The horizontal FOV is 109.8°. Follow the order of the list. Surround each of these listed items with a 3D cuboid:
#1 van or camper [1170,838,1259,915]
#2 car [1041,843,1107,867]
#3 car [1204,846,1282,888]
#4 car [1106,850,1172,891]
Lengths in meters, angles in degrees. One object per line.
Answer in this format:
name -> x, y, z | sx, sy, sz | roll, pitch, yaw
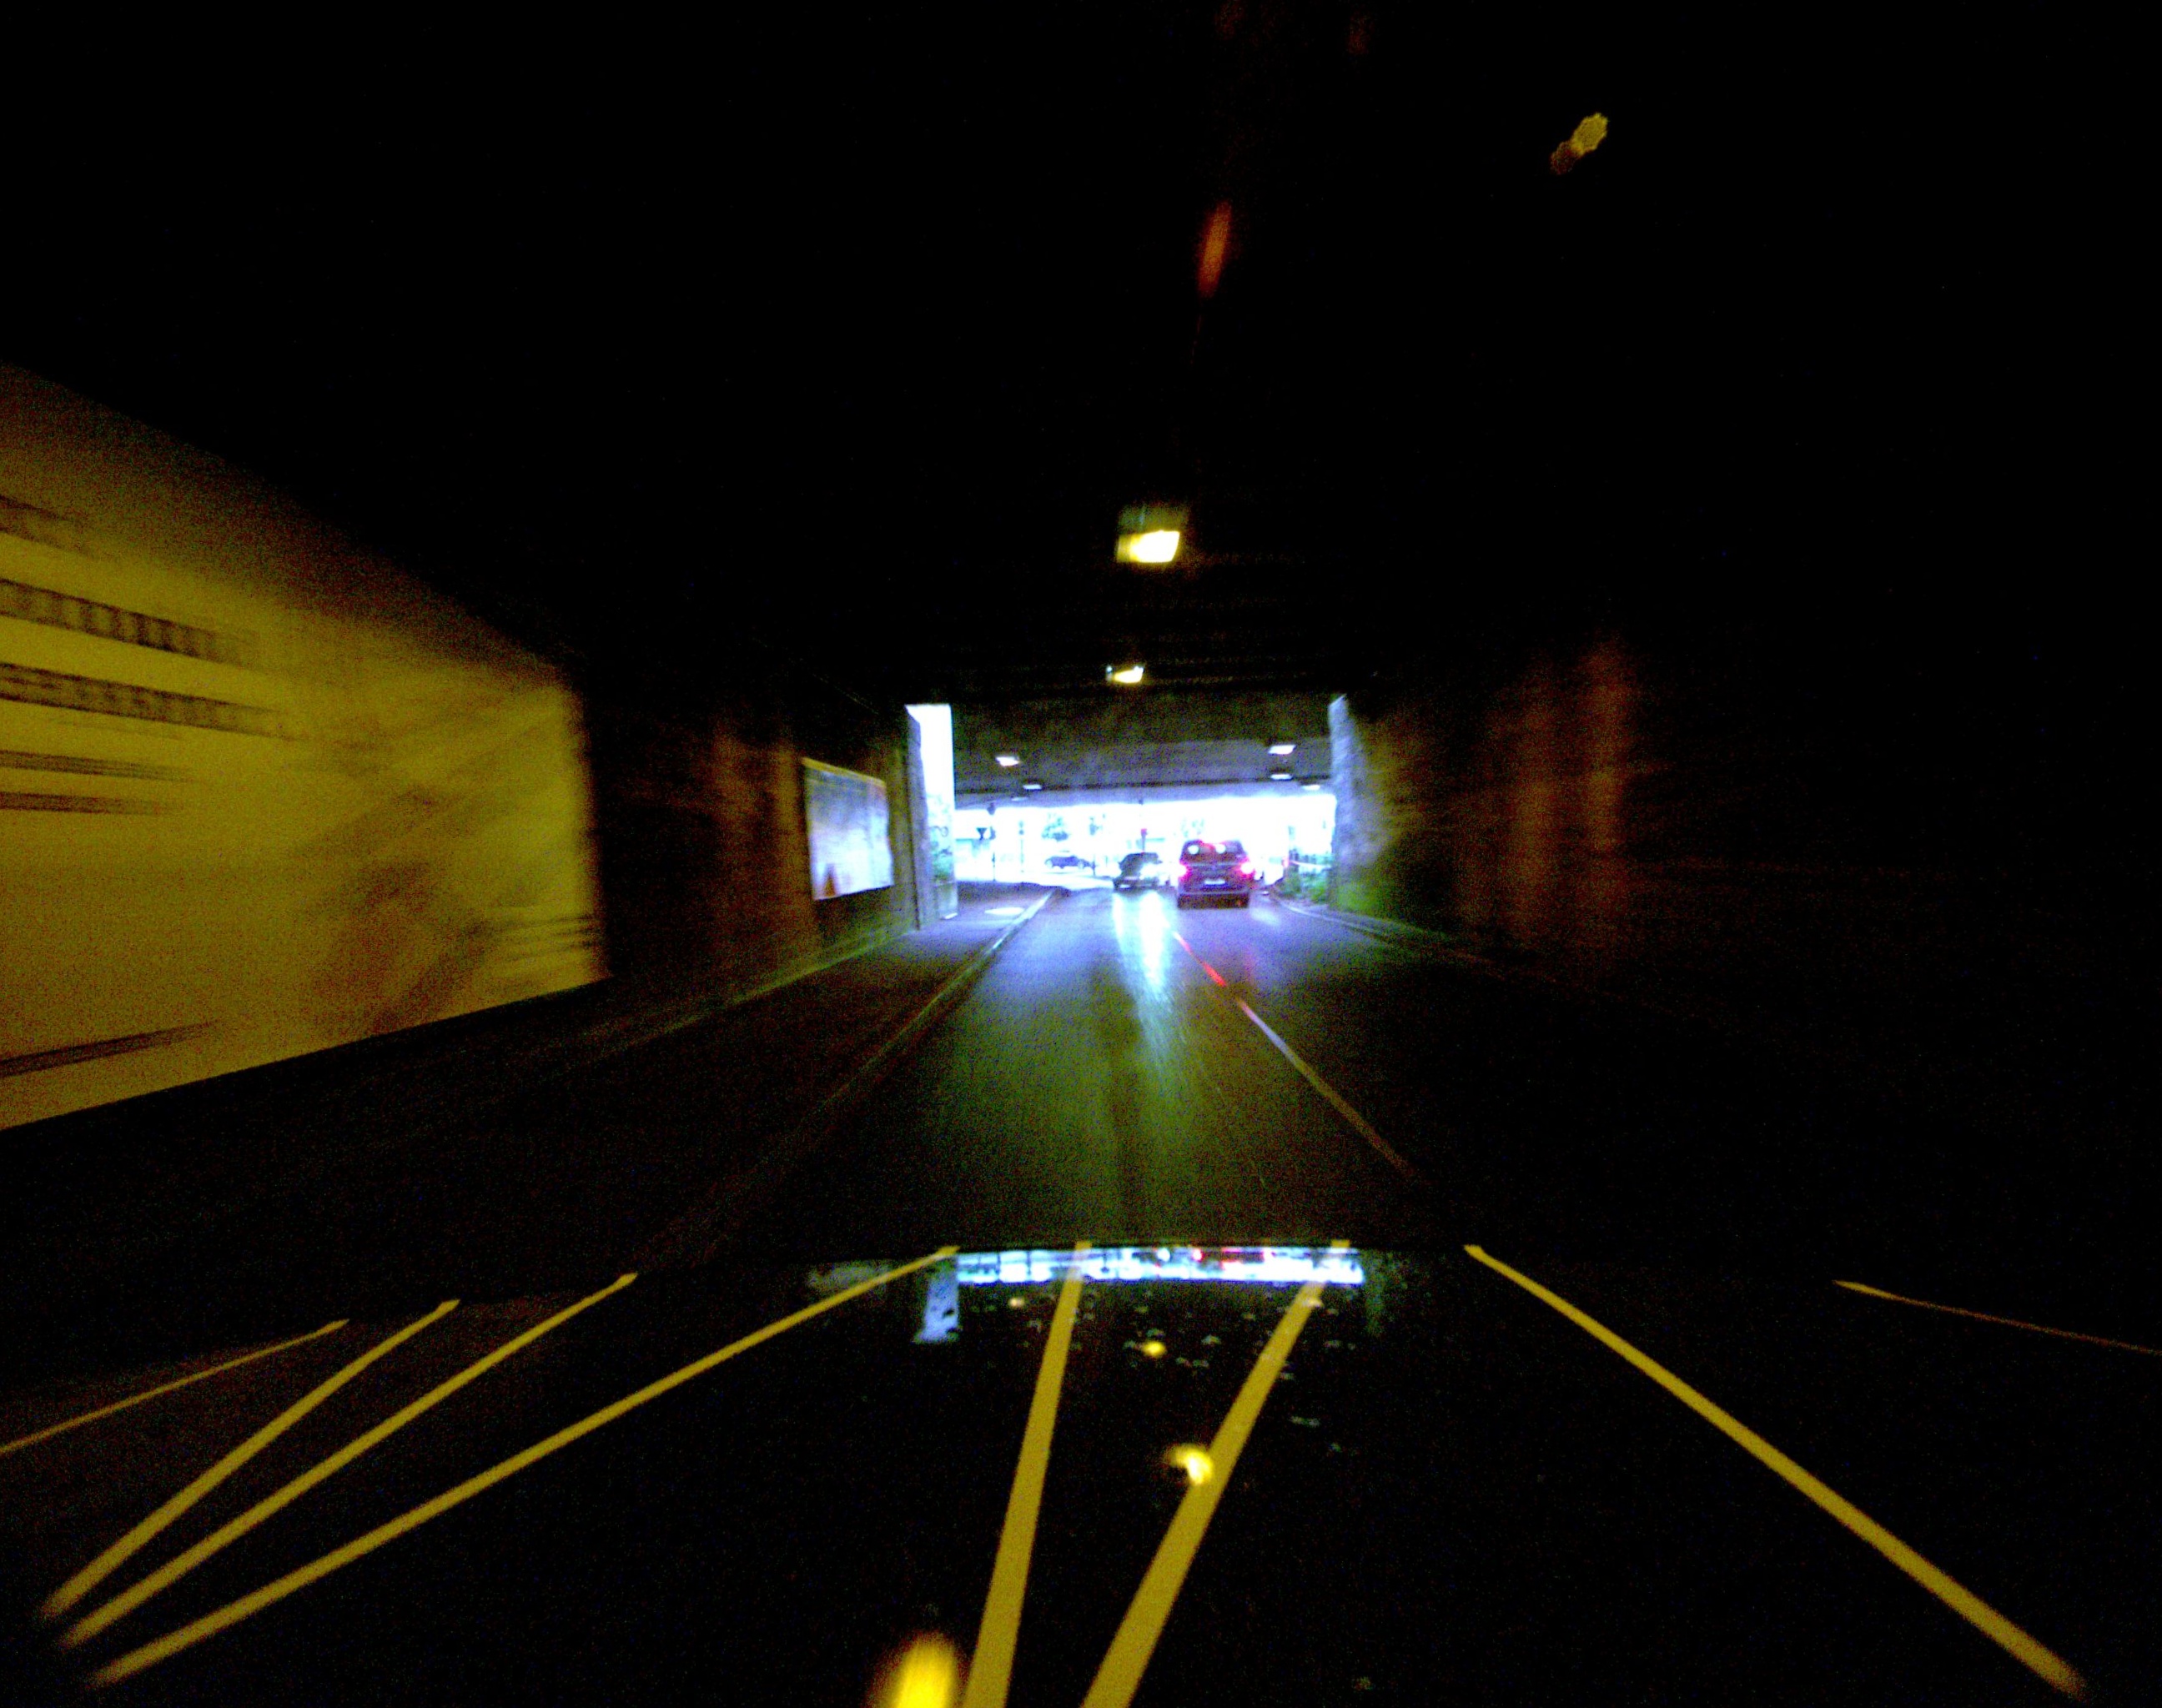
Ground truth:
van or camper -> 3.575, 0.506, 21.261 | 1.998, 1.858, 5.139 | -1, 1, 5
car -> -0.484, 0.054, 52.630 | 4.223, 1.571, 1.772 | 0, 3, 27
car -> 7.421, 0.568, 34.466 | 1.996, 1.520, 4.507 | -6, -1, 30
car -> 2.418, 0.638, 30.702 | 1.705, 1.548, 4.006 | 0, -1, 19
